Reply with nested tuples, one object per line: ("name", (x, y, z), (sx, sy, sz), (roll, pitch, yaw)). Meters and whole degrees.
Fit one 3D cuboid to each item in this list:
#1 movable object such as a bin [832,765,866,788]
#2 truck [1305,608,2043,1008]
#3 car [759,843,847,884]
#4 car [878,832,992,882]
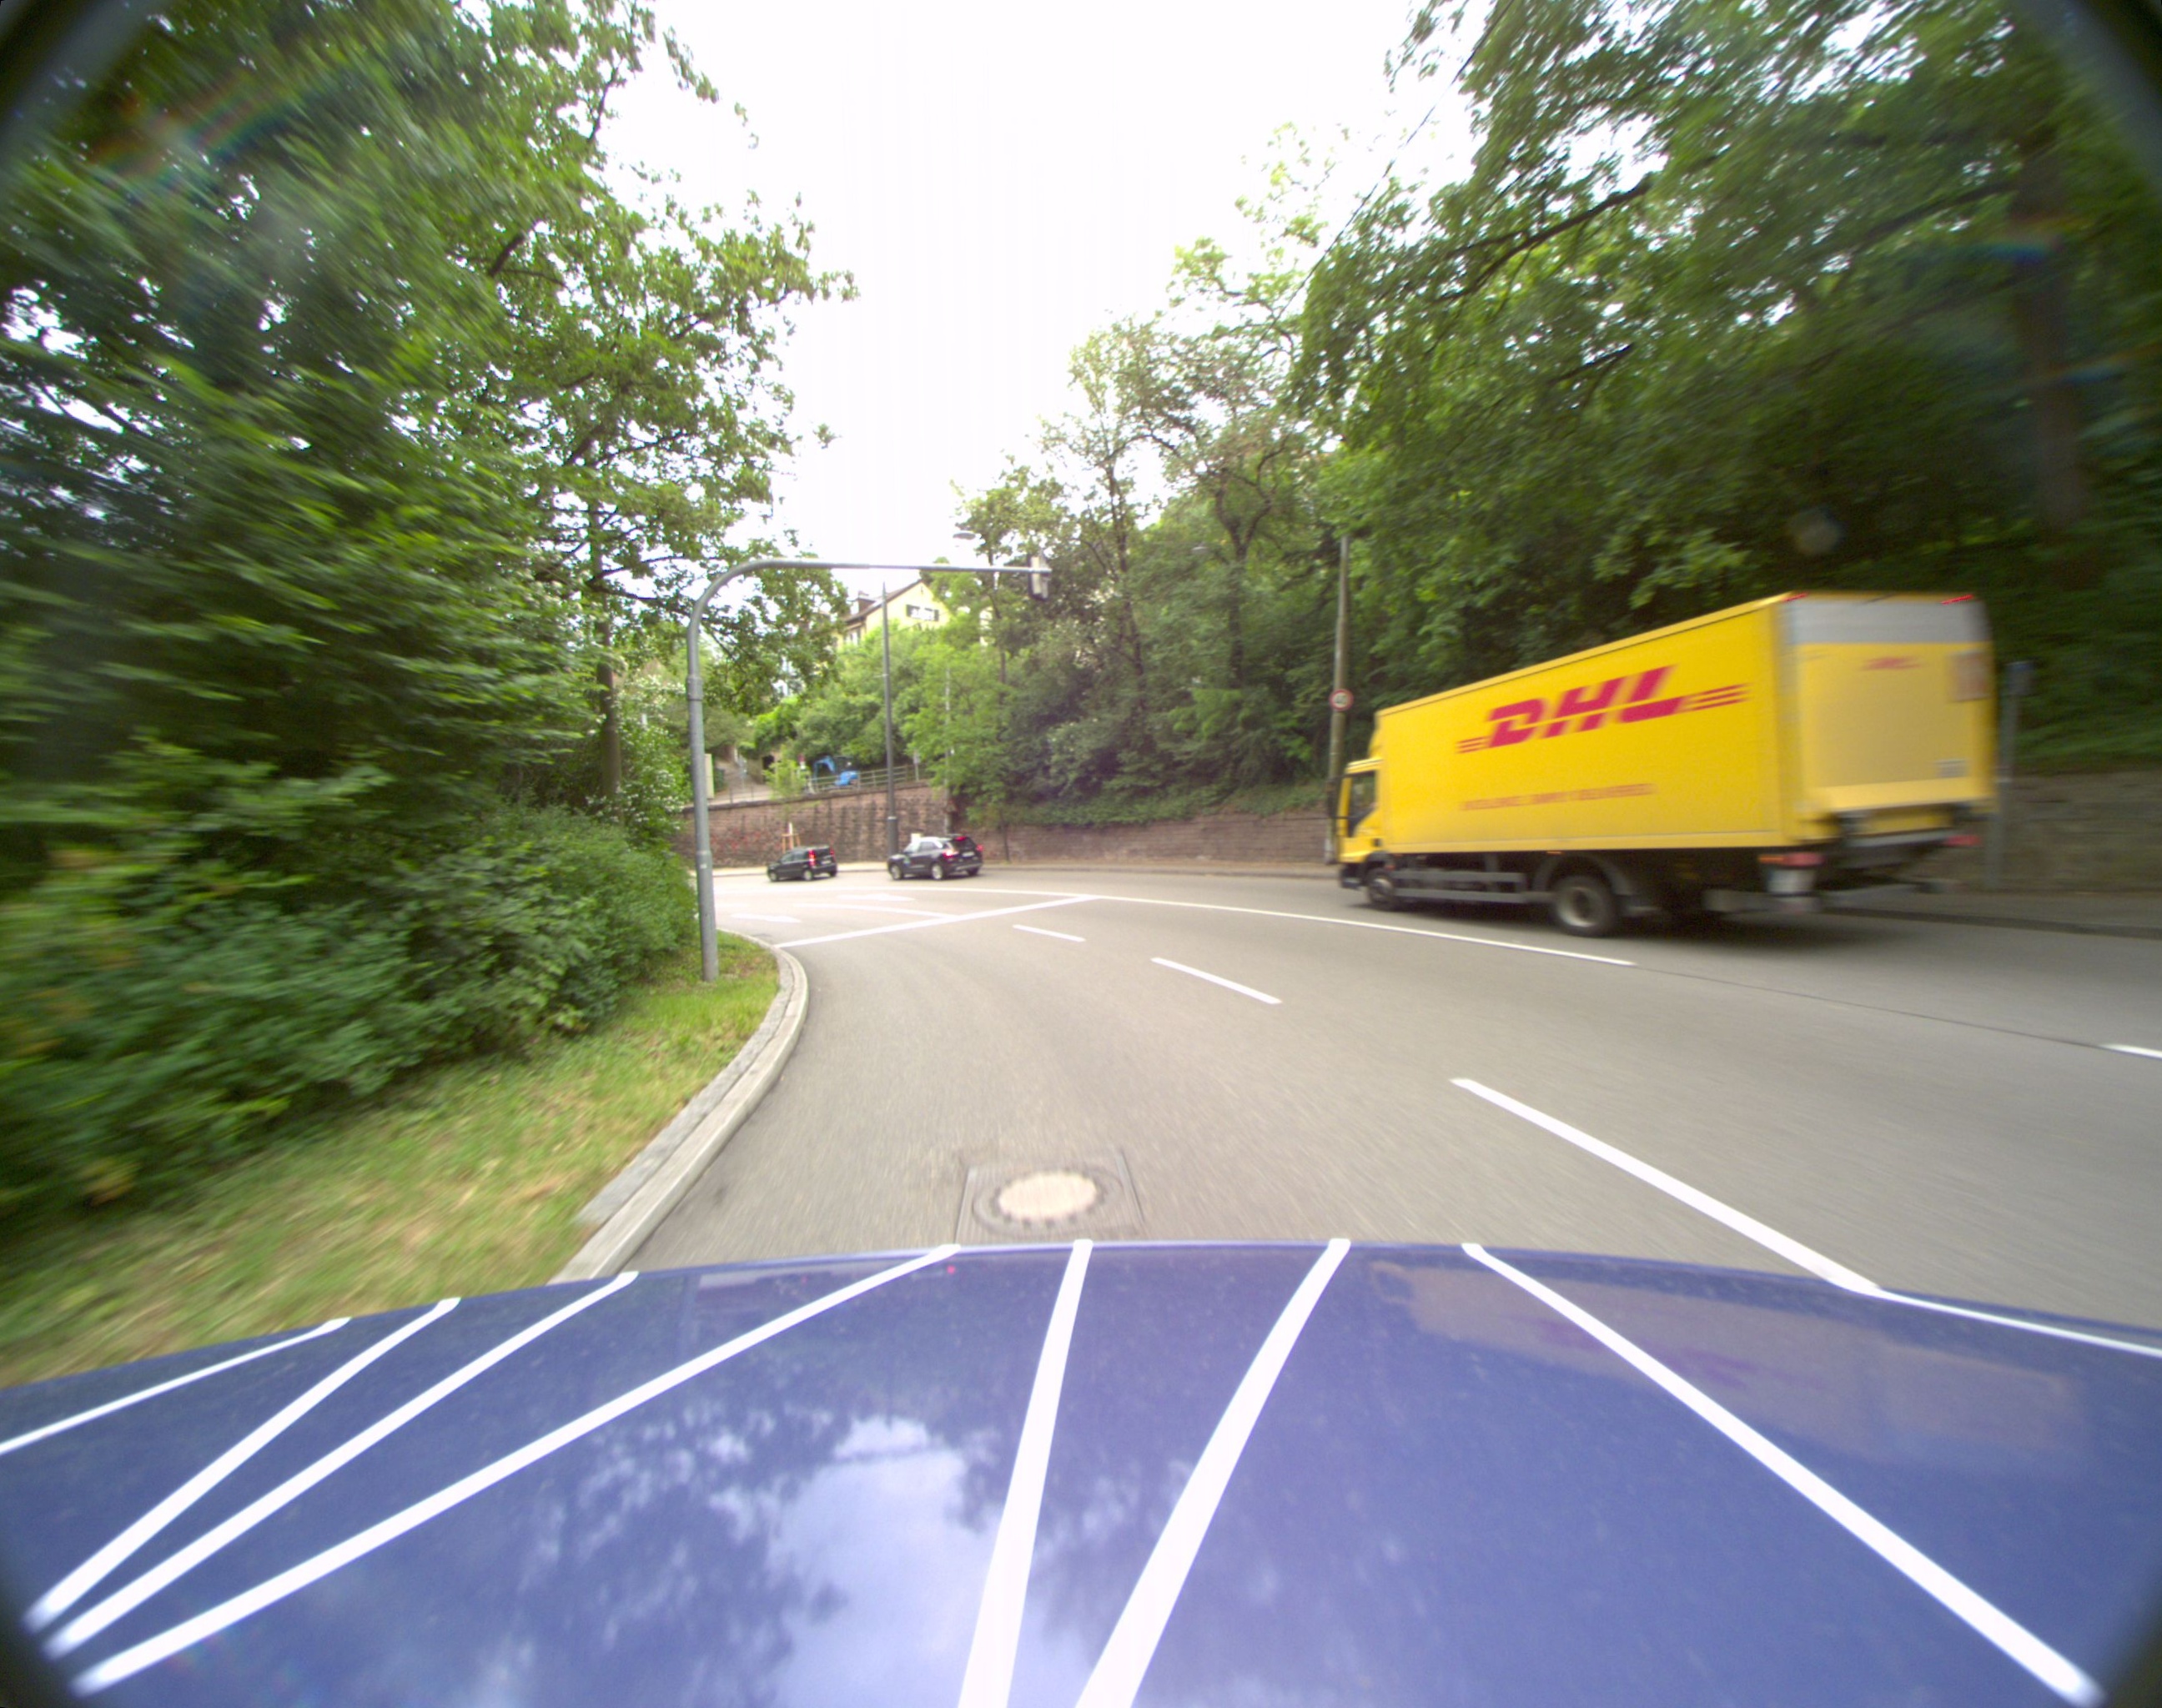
("movable object such as a bin", (-15.224, -5.071, 49.878), (1.601, 1.349, 1.253), (-3, 4, 20))
("truck", (6.440, -0.496, 10.248), (2.759, 3.282, 7.571), (-5, 2, -15))
("car", (-12.775, 0.430, 34.909), (3.651, 1.517, 1.512), (-3, 6, 28))
("car", (-5.772, 0.153, 29.721), (4.637, 1.616, 1.762), (-2, 6, 42))
